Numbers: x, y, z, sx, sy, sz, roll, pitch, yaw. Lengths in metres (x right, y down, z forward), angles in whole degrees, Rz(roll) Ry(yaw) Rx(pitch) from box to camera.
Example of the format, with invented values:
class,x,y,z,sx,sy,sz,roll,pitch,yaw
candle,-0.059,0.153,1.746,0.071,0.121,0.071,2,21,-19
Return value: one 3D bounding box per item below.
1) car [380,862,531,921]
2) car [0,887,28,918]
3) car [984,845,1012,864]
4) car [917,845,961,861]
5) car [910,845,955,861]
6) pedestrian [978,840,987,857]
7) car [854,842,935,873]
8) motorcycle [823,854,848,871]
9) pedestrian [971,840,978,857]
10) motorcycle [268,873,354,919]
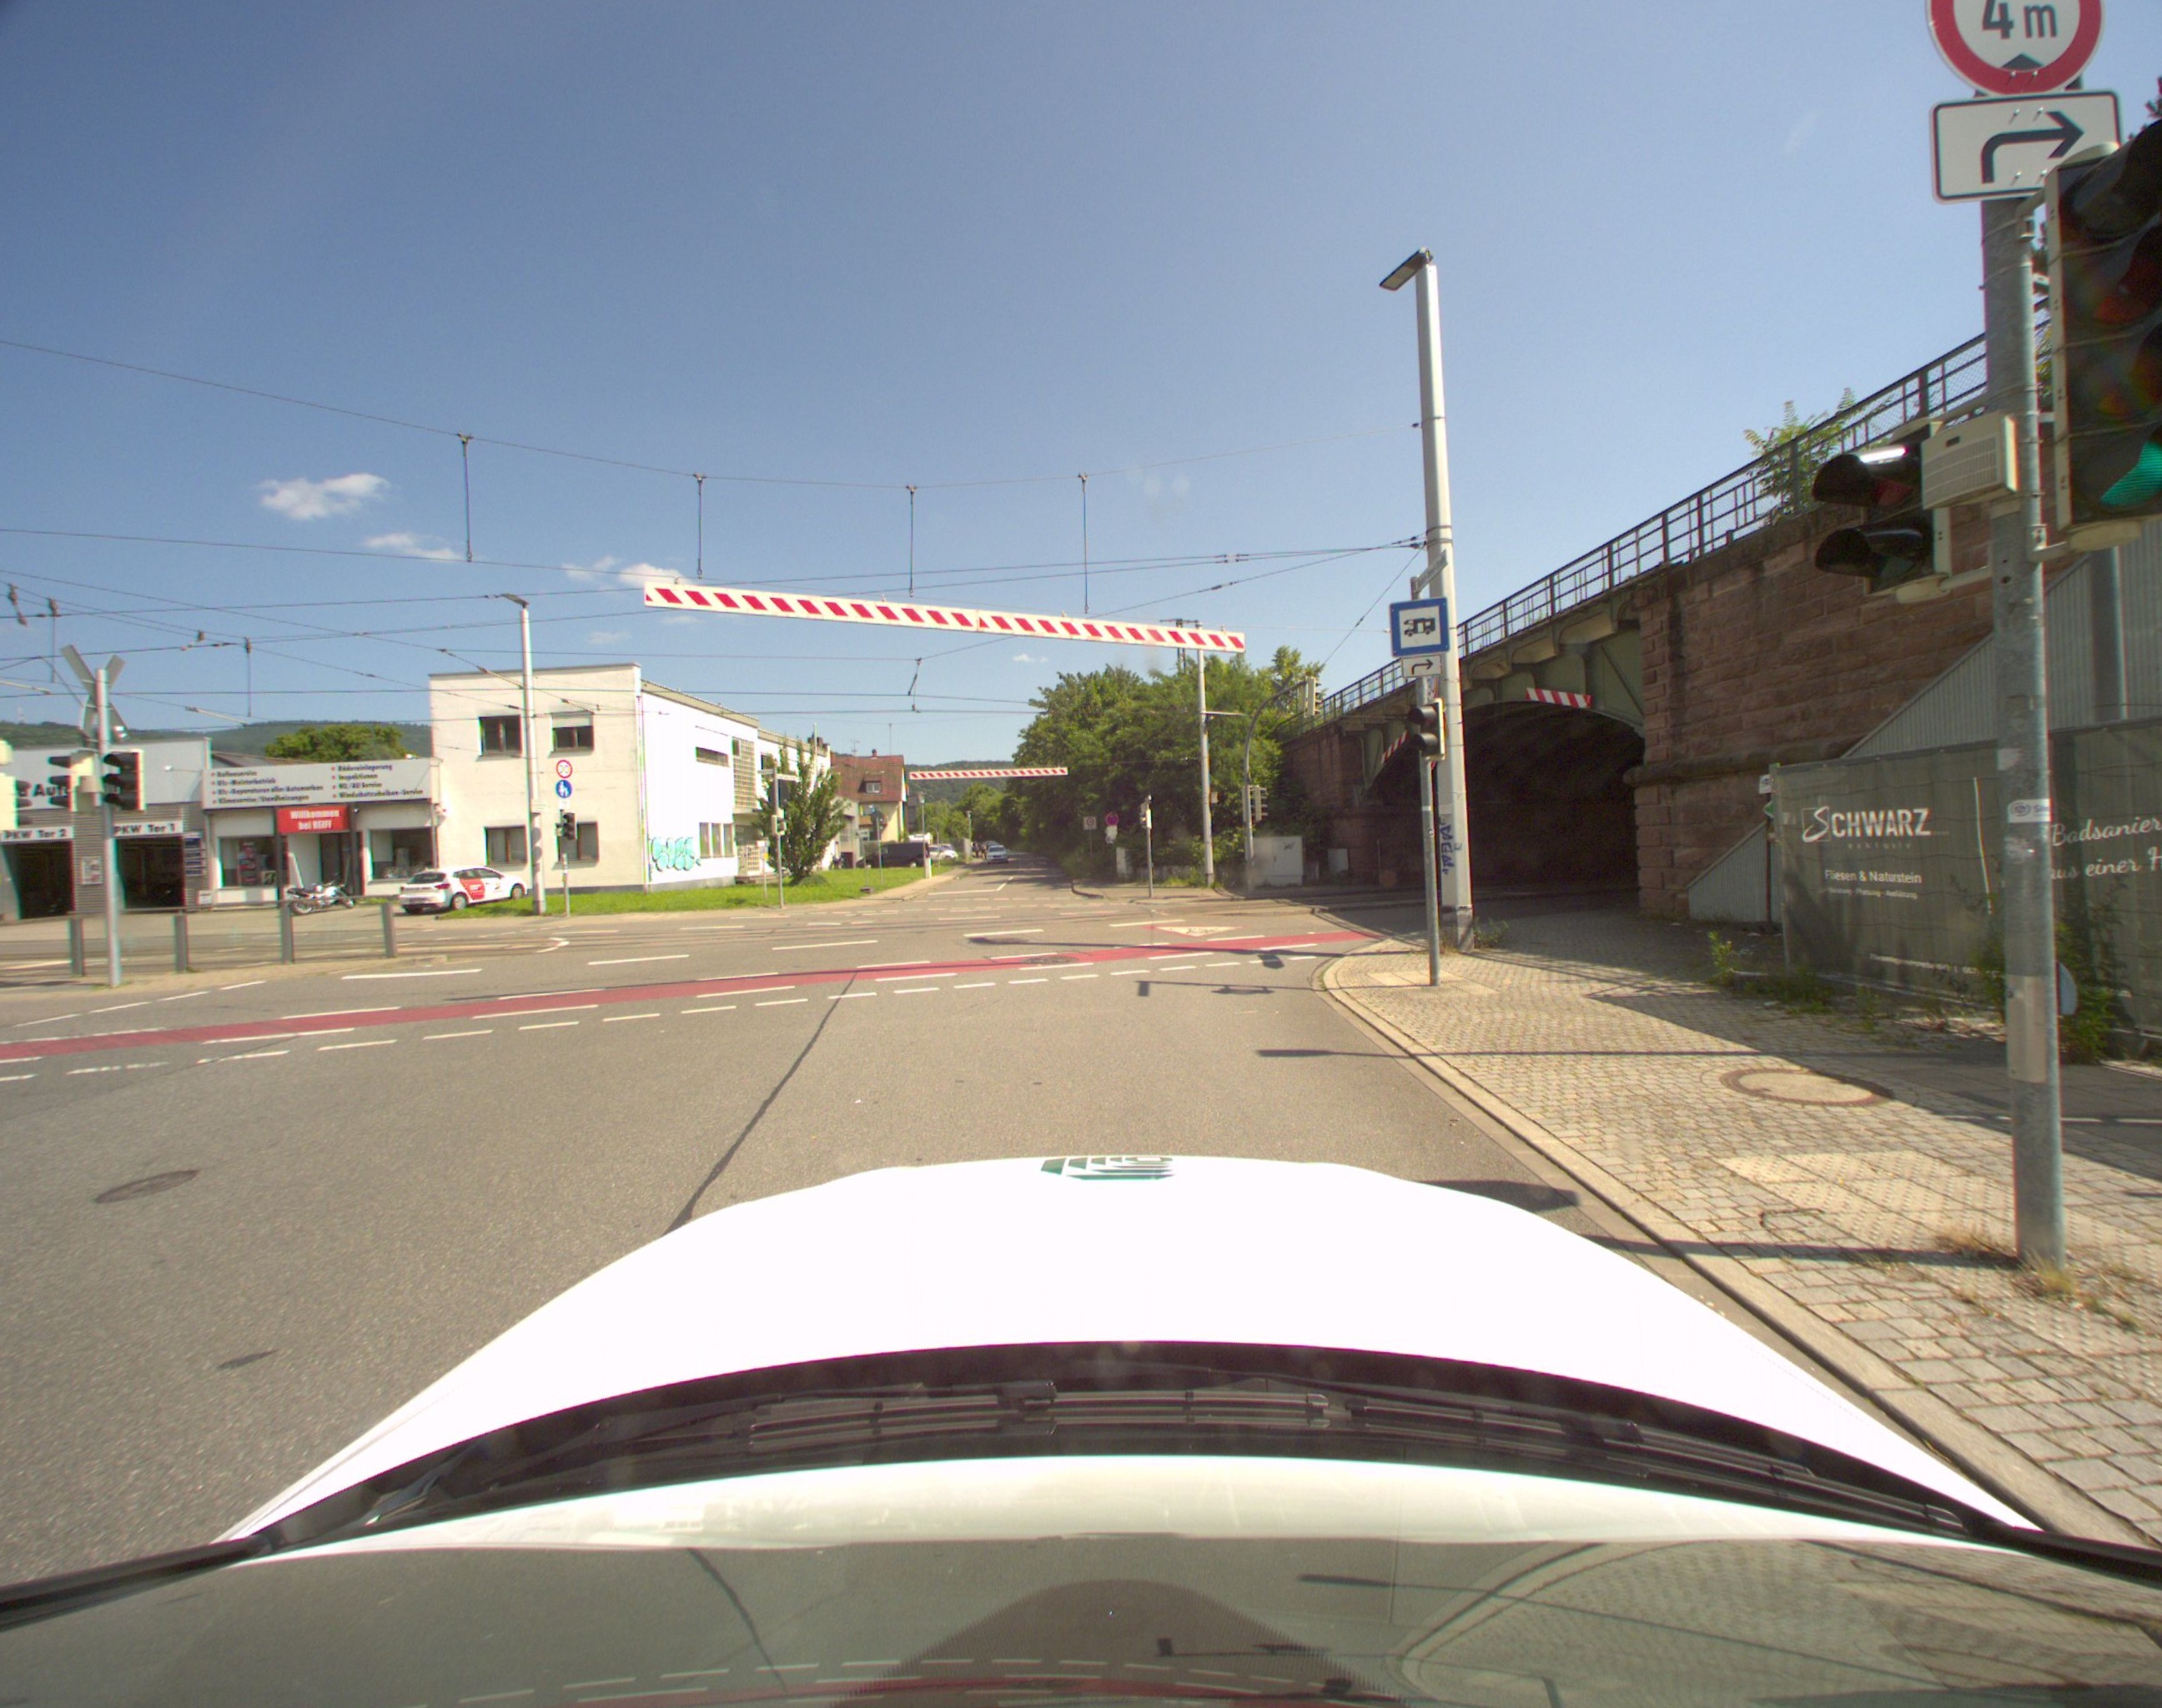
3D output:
class,x,y,z,sx,sy,sz,roll,pitch,yaw
car,-21.408,1.226,28.118,1.876,1.462,4.004,-3,4,2
car,-50.909,2.298,36.788,1.714,1.376,3.772,-2,1,-1
car,-6.941,0.017,68.518,2.082,1.510,4.534,-1,1,-4
car,-12.936,-0.094,74.146,3.712,1.371,1.603,-1,0,-3
car,-12.994,-0.071,71.488,3.712,1.371,1.603,-1,-1,-3
pedestrian,-10.044,-0.574,83.252,0.874,1.763,0.729,-1,-1,-5
car,-13.098,0.230,57.362,5.240,1.816,1.996,-3,0,-6
motorcycle,-15.524,0.540,51.592,0.849,1.032,2.566,-1,-1,-1
pedestrian,-10.864,-0.573,83.320,0.652,1.763,0.802,-1,-1,-5
motorcycle,-27.017,1.450,28.637,0.726,1.308,2.192,-3,4,2
